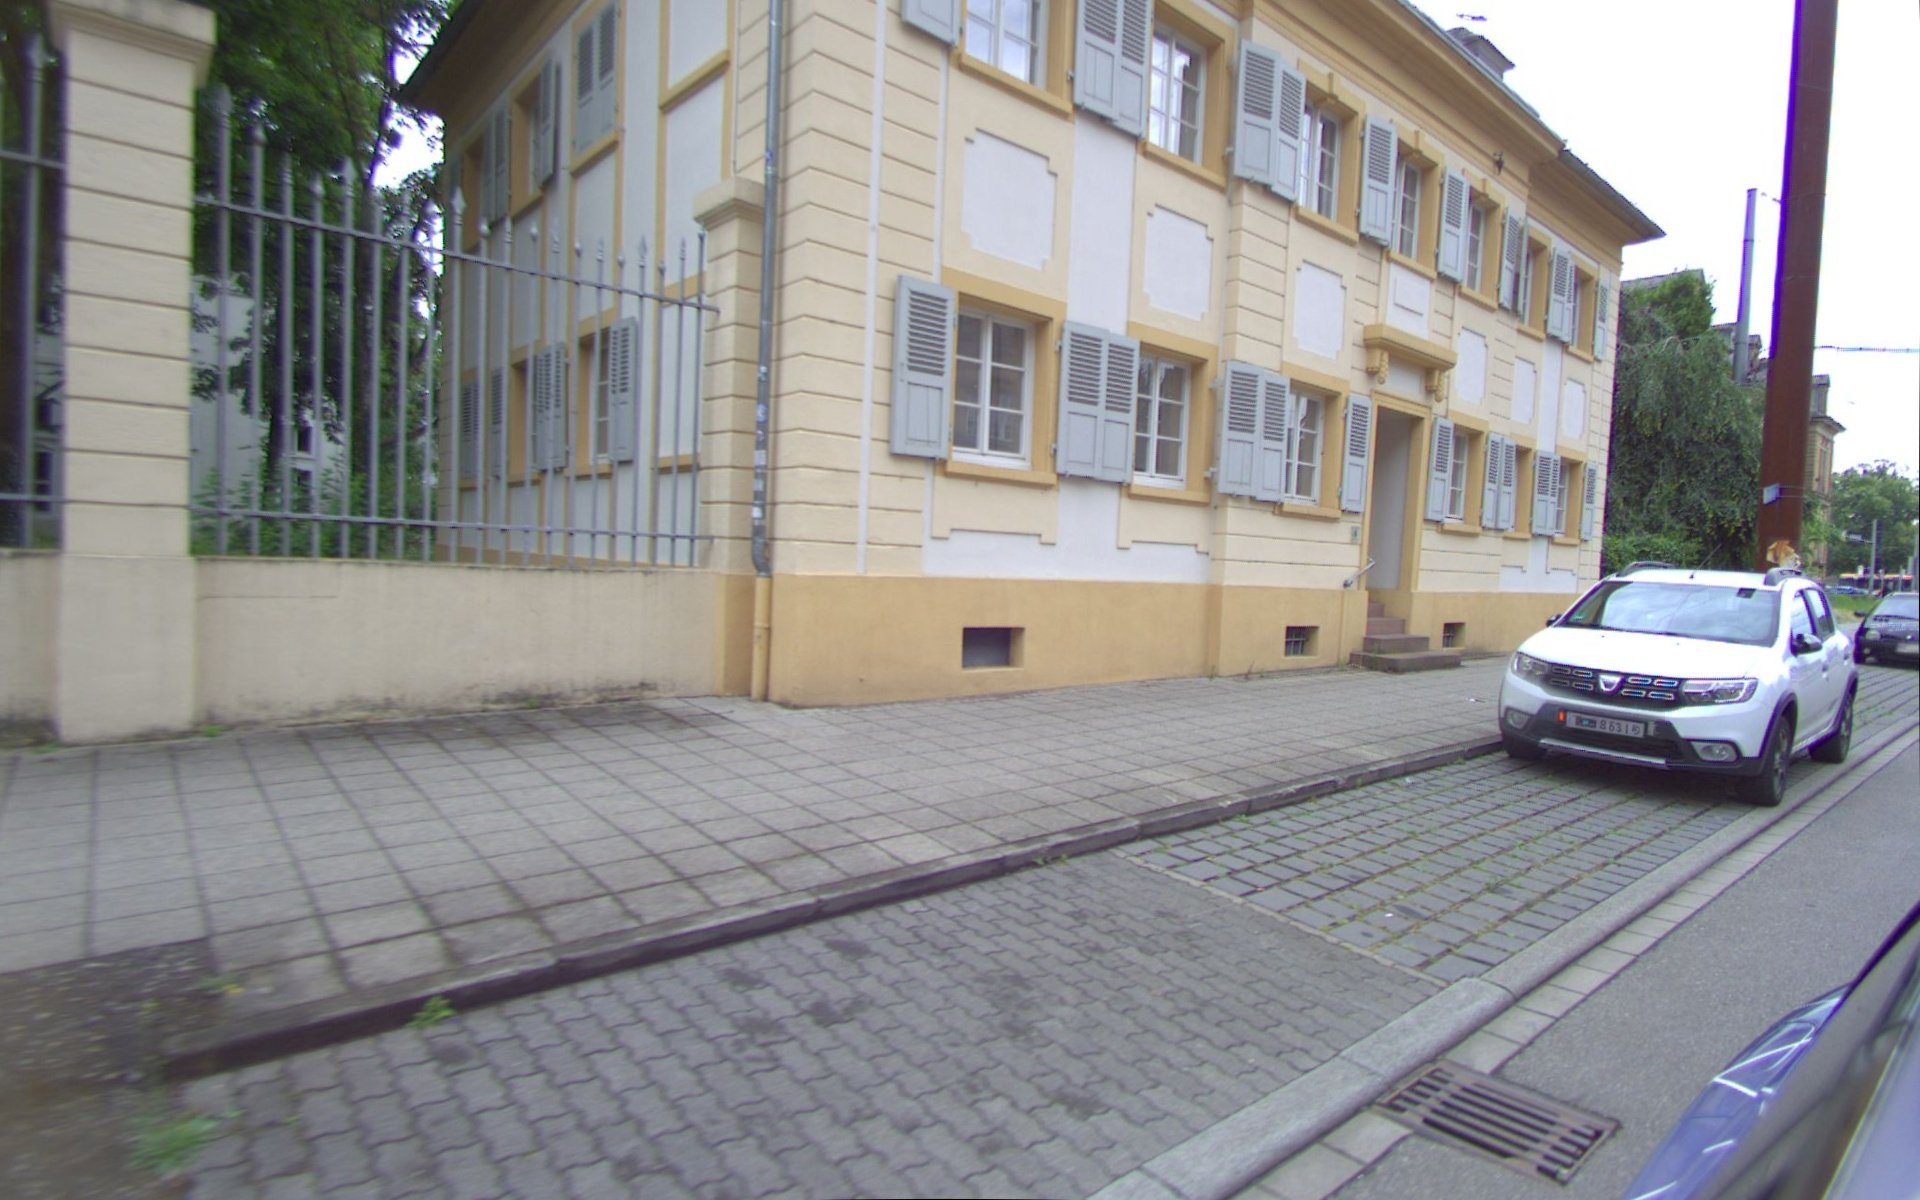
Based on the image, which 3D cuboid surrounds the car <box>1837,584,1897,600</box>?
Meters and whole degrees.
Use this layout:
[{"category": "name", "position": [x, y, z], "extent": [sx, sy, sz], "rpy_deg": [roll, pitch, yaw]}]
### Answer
[{"category": "car", "position": [84.188, -0.786, 93.984], "extent": [1.658, 1.262, 3.743], "rpy_deg": [1, 3, -30]}]

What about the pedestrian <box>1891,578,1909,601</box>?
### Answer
[{"category": "pedestrian", "position": [80.732, -0.893, 86.894], "extent": [0.773, 1.967, 0.973], "rpy_deg": [3, 2, 26]}]

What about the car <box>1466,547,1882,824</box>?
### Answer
[{"category": "car", "position": [5.826, 0.481, 8.091], "extent": [3.862, 1.593, 1.759], "rpy_deg": [0, 6, -41]}]

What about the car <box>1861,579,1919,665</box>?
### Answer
[{"category": "car", "position": [18.509, 0.415, 19.133], "extent": [3.862, 1.450, 1.642], "rpy_deg": [0, 6, -41]}]

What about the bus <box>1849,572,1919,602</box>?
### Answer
[{"category": "bus", "position": [108.781, -1.608, 118.117], "extent": [2.826, 3.114, 11.958], "rpy_deg": [2, 3, 17]}]
